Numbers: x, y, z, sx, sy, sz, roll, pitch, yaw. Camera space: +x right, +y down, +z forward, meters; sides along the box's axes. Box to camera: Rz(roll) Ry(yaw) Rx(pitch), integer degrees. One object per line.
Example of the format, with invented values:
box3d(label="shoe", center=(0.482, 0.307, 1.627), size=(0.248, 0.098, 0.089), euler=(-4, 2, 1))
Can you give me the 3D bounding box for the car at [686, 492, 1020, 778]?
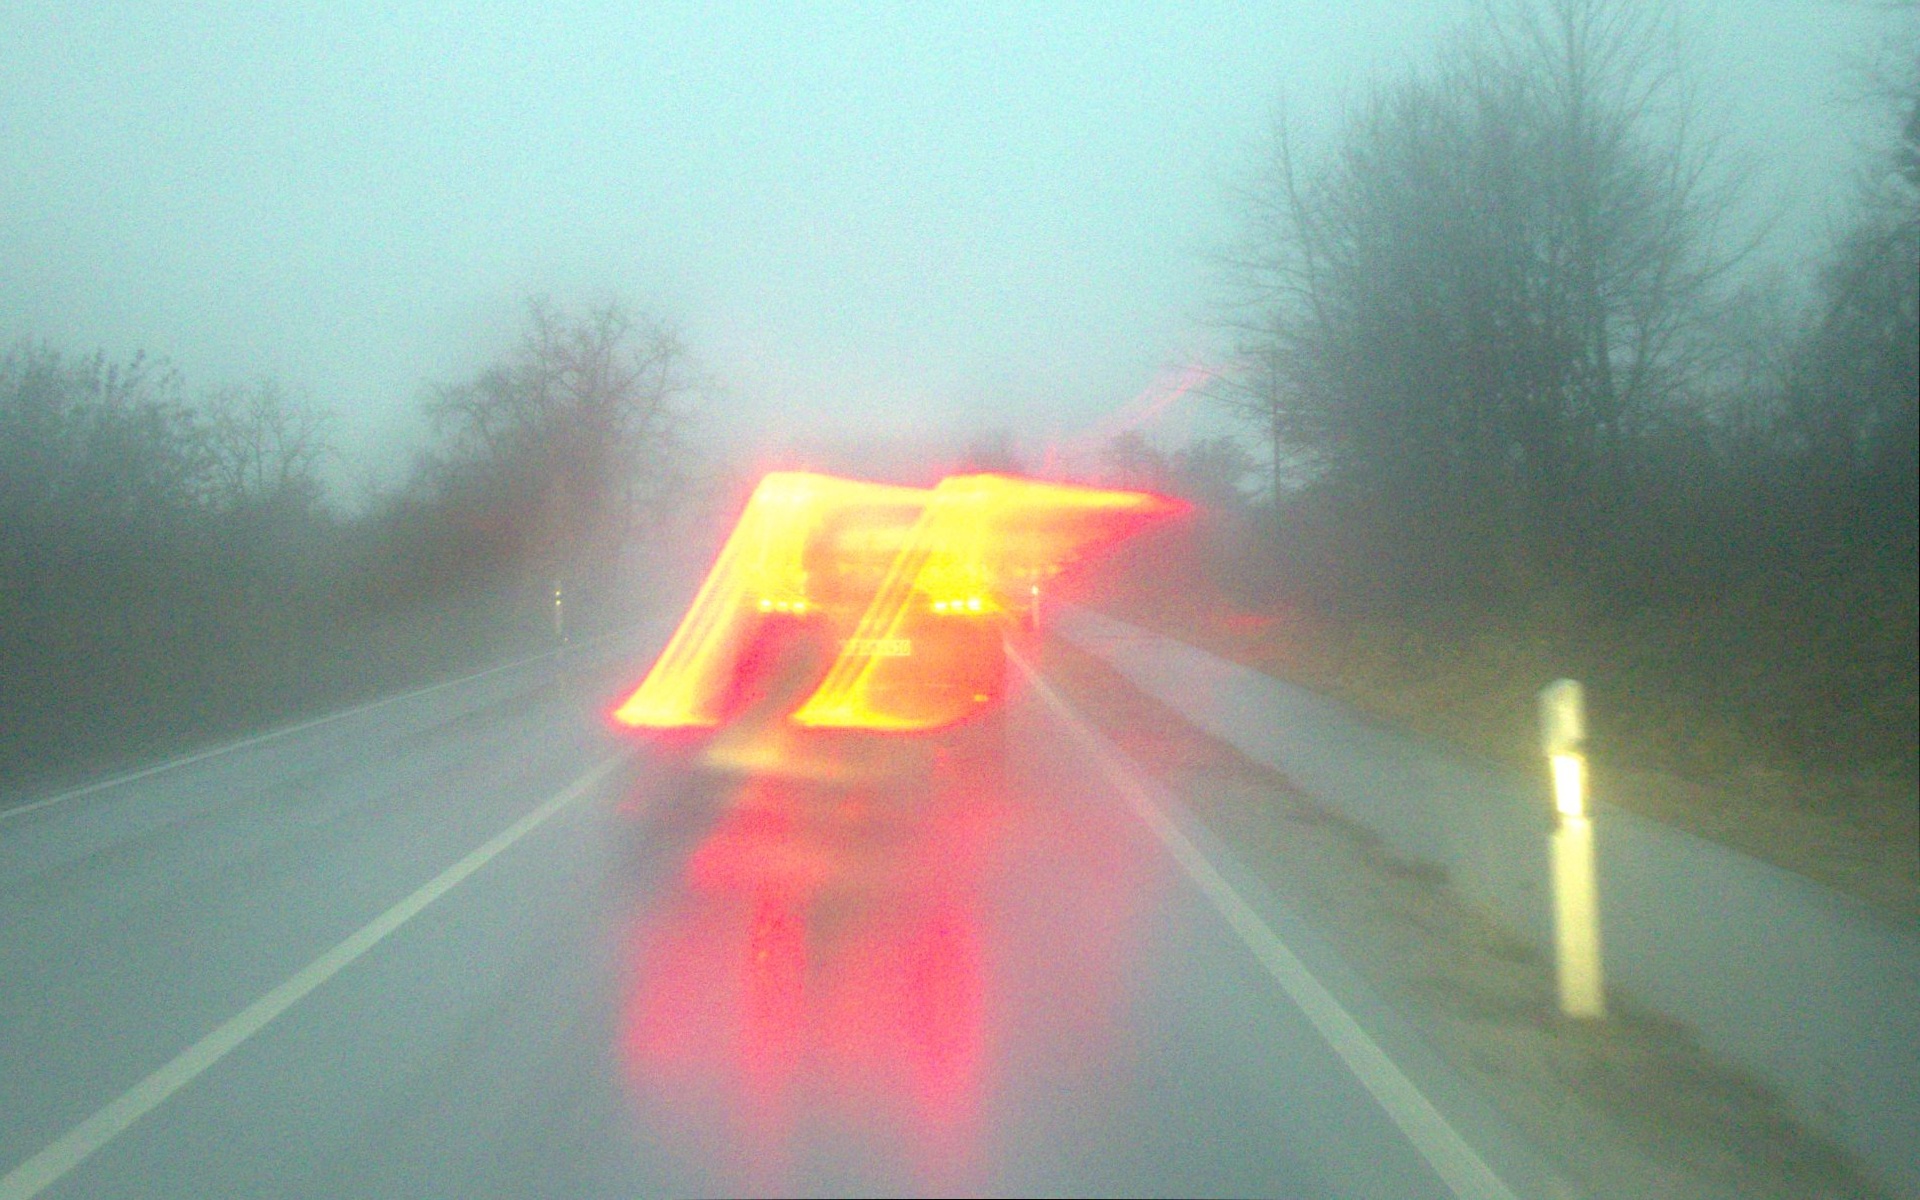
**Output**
box3d(label="car", center=(-0.714, 0.178, 24.395), size=(2.120, 1.813, 4.980), euler=(0, 1, -1))
